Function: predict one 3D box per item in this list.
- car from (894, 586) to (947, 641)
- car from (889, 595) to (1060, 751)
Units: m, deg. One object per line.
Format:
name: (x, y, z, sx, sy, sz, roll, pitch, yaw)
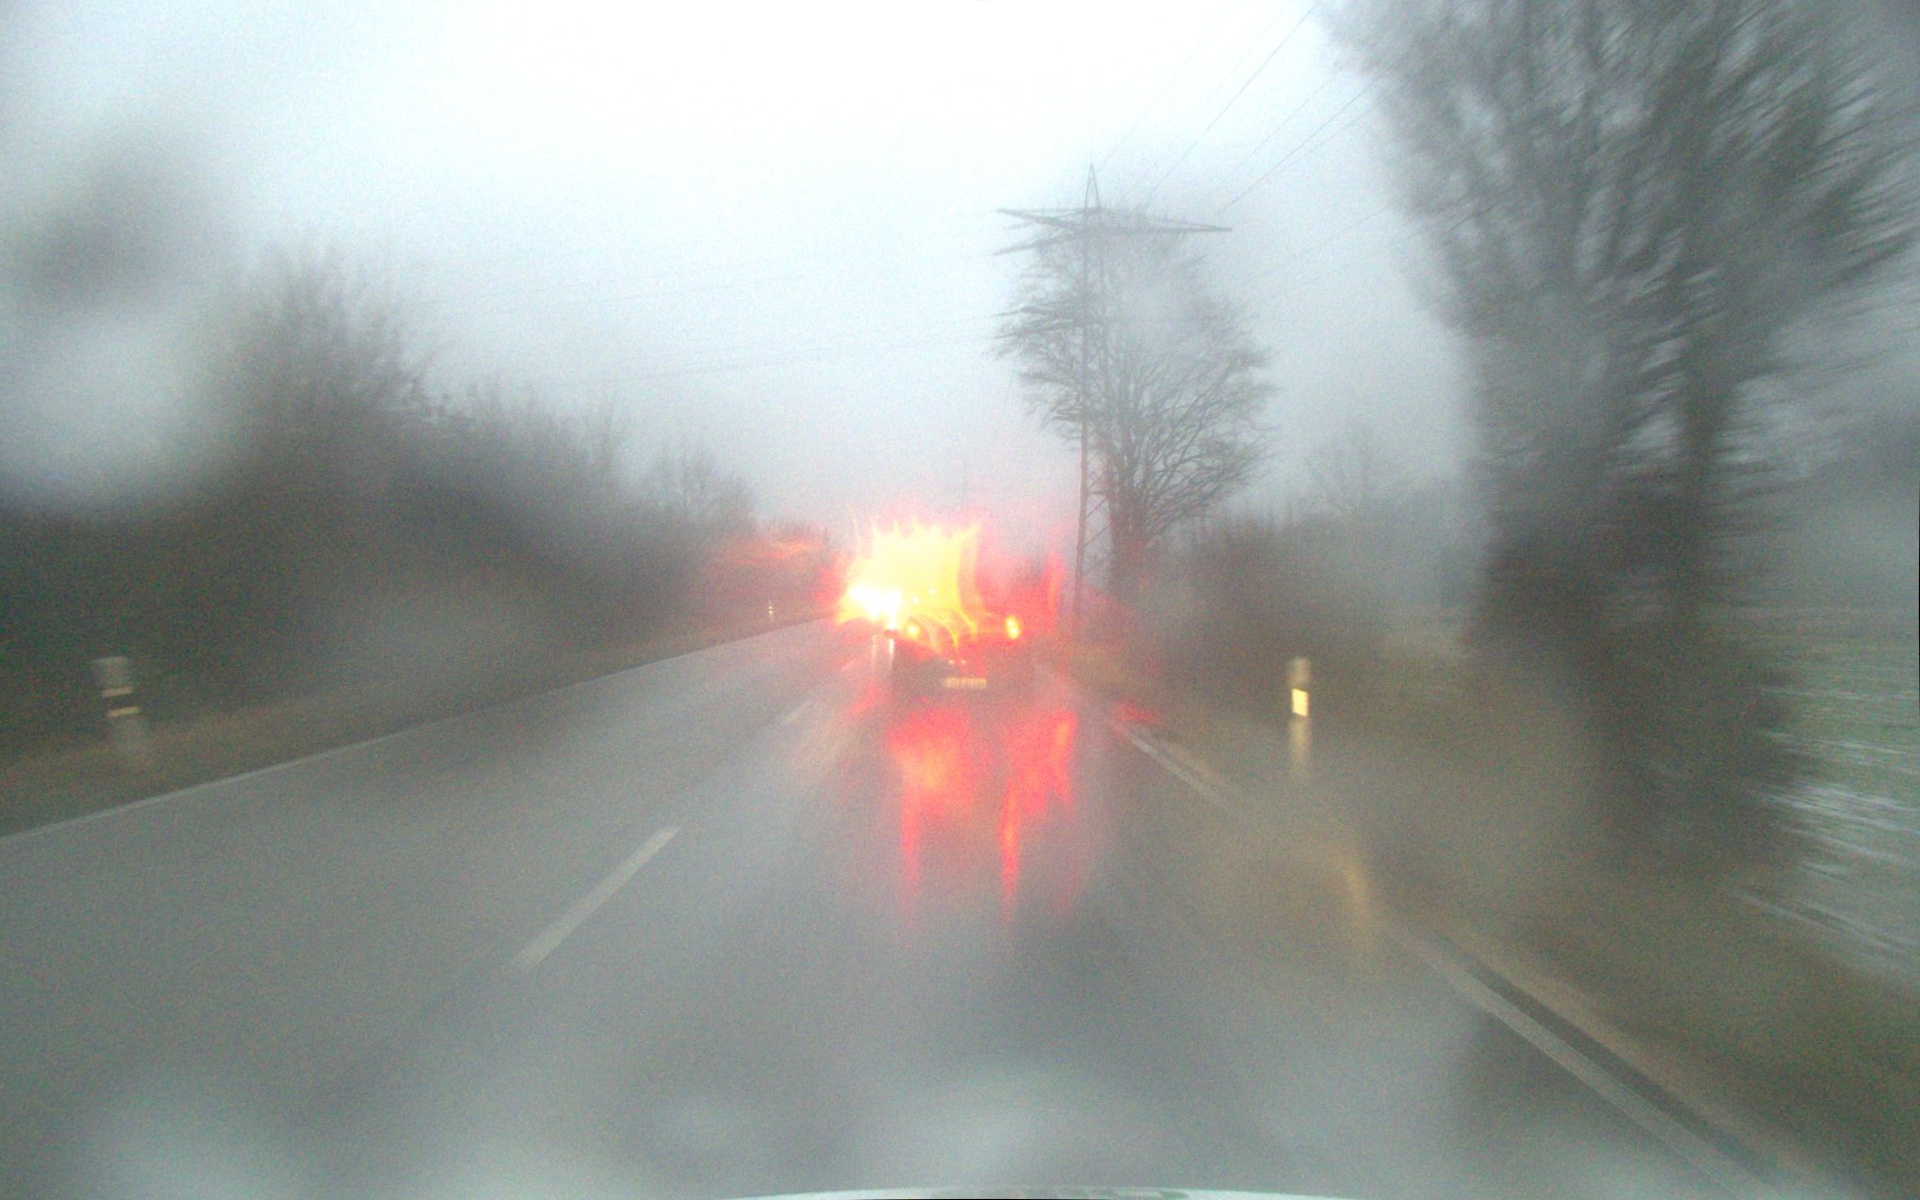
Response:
car: (-1.496, 0.496, 63.824, 1.953, 2.049, 3.999, -1, 0, -1)
car: (0.126, 0.836, 20.904, 1.953, 1.783, 3.999, 0, 0, -1)
